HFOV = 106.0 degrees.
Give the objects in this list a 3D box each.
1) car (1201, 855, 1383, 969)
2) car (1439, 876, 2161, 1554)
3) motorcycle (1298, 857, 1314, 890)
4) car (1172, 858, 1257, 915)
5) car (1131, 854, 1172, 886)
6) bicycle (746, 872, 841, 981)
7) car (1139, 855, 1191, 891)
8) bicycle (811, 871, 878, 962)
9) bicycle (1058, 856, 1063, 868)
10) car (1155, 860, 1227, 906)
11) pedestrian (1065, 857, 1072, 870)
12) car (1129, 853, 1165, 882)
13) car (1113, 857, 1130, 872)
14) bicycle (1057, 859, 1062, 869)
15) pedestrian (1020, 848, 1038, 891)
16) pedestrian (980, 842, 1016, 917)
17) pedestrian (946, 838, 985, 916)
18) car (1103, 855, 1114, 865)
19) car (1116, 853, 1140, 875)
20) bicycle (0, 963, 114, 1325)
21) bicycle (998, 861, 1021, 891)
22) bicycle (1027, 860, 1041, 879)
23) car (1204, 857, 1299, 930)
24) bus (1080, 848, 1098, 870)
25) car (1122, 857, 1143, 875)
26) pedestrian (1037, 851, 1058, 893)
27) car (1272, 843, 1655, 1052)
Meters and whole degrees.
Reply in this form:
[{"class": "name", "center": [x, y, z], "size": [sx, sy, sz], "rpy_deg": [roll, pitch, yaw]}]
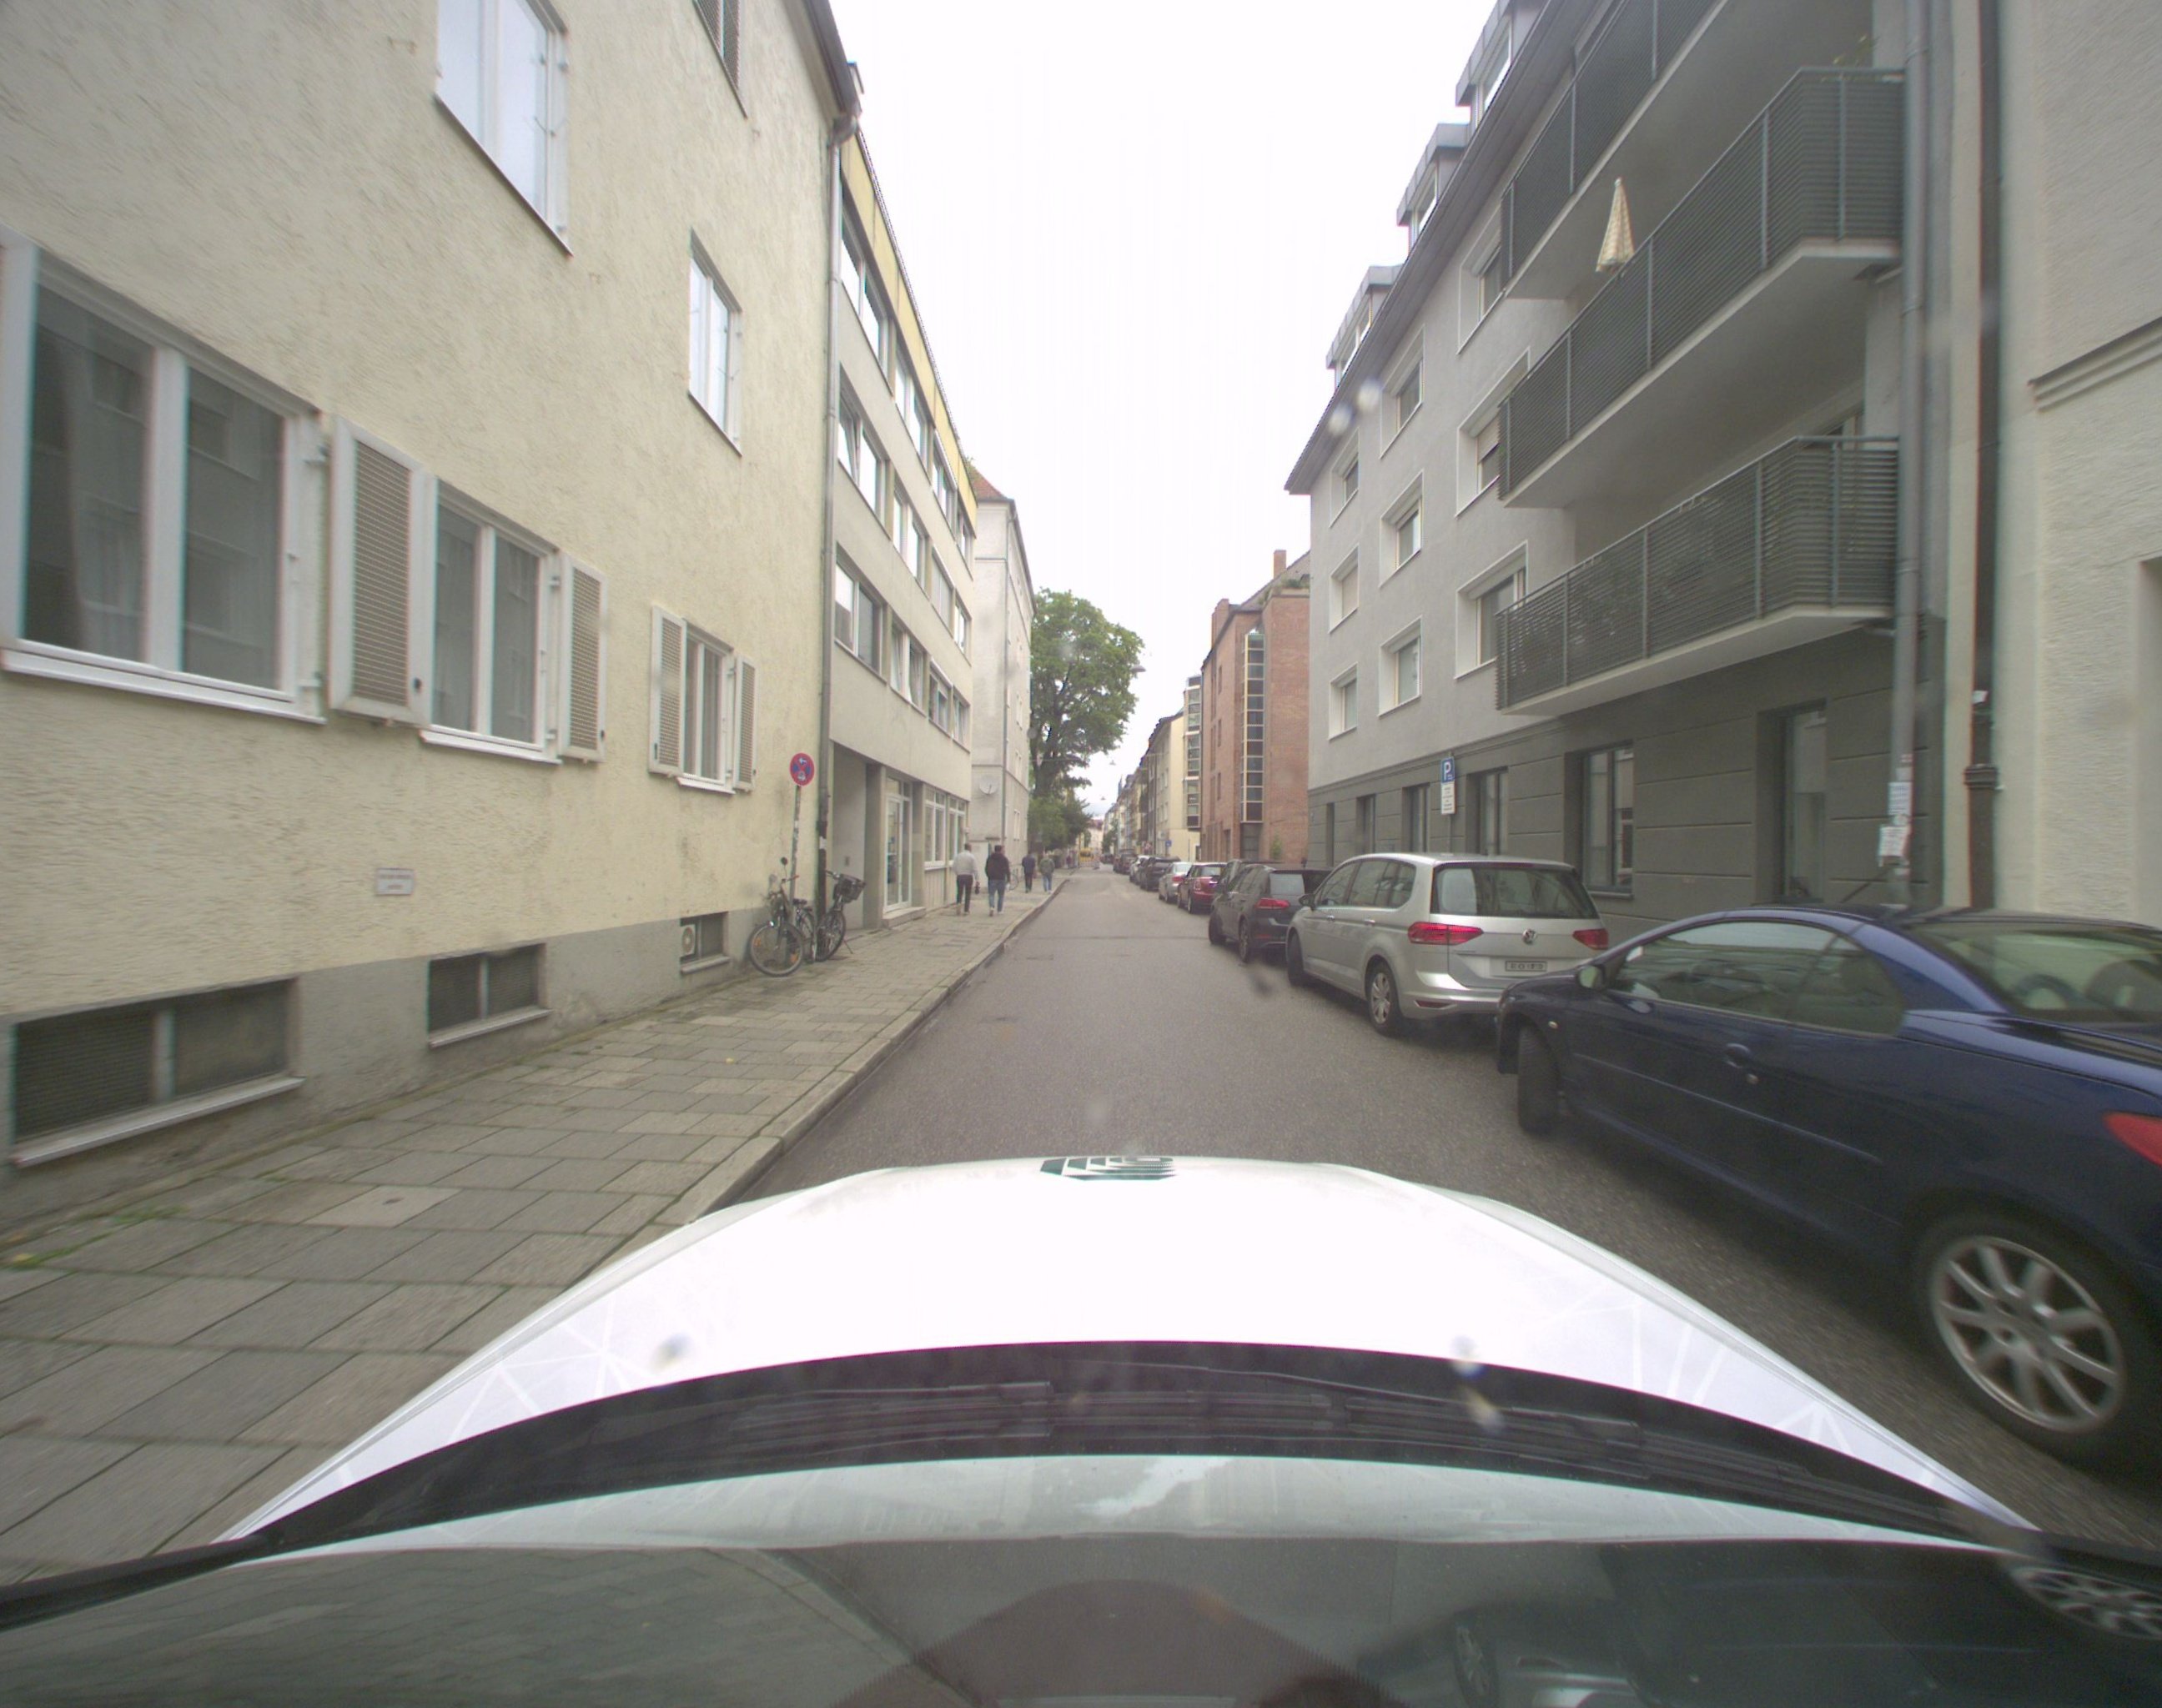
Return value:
[{"class": "car", "center": [3.209, 0.805, 13.317], "size": [1.834, 1.528, 4.291], "rpy_deg": [1, 0, 0]}, {"class": "car", "center": [3.271, 0.829, 3.511], "size": [1.801, 1.363, 3.946], "rpy_deg": [0, 0, 1]}, {"class": "motorcycle", "center": [9.497, 0.803, 34.420], "size": [0.536, 1.345, 1.947], "rpy_deg": [-1, -1, 12]}, {"class": "car", "center": [3.784, 0.880, 23.734], "size": [1.740, 1.462, 4.149], "rpy_deg": [1, 0, 0]}, {"class": "car", "center": [3.685, 0.828, 43.198], "size": [1.717, 1.635, 3.877], "rpy_deg": [0, -1, -3]}, {"class": "bicycle", "center": [-3.395, 0.816, 9.745], "size": [0.456, 1.159, 1.606], "rpy_deg": [3, -1, 2]}, {"class": "car", "center": [3.855, 0.853, 38.182], "size": [1.880, 1.555, 4.389], "rpy_deg": [1, 0, -1]}, {"class": "bicycle", "center": [-3.294, 0.836, 11.460], "size": [0.561, 1.159, 1.717], "rpy_deg": [1, -1, -5]}, {"class": "bicycle", "center": [-2.540, 1.007, 101.259], "size": [0.512, 1.418, 1.933], "rpy_deg": [0, -1, 0]}, {"class": "car", "center": [3.720, 0.940, 28.333], "size": [1.831, 1.417, 4.599], "rpy_deg": [1, 0, 0]}, {"class": "pedestrian", "center": [-1.408, 1.088, 91.263], "size": [0.753, 1.491, 0.831], "rpy_deg": [0, -1, 1]}, {"class": "car", "center": [3.885, 0.775, 48.559], "size": [1.744, 1.630, 4.194], "rpy_deg": [0, 0, -2]}, {"class": "car", "center": [4.293, 1.111, 86.549], "size": [1.630, 1.515, 3.829], "rpy_deg": [4, 0, 0]}, {"class": "bicycle", "center": [-2.356, 1.131, 88.452], "size": [0.445, 1.073, 2.467], "rpy_deg": [0, -1, -1]}, {"class": "pedestrian", "center": [-2.117, 0.650, 33.409], "size": [0.610, 1.713, 0.823], "rpy_deg": [2, -1, 0]}, {"class": "pedestrian", "center": [-2.018, 0.613, 19.935], "size": [0.716, 1.765, 0.838], "rpy_deg": [2, -1, 1]}, {"class": "pedestrian", "center": [-2.783, 0.548, 19.693], "size": [0.716, 1.796, 0.917], "rpy_deg": [2, -1, 1]}, {"class": "car", "center": [5.093, 1.038, 152.452], "size": [1.796, 1.712, 3.825], "rpy_deg": [4, 0, -1]}, {"class": "car", "center": [4.295, 0.913, 74.667], "size": [1.796, 1.820, 3.998], "rpy_deg": [4, 0, -1]}, {"class": "bicycle", "center": [-3.356, 0.821, 1.602], "size": [0.702, 0.984, 1.820], "rpy_deg": [5, -1, -3]}, {"class": "bicycle", "center": [-3.030, 0.910, 34.425], "size": [0.643, 1.217, 1.654], "rpy_deg": [0, -1, -18]}, {"class": "bicycle", "center": [-2.826, 0.917, 49.036], "size": [0.474, 1.111, 1.750], "rpy_deg": [1, 0, -17]}, {"class": "car", "center": [3.860, 0.851, 18.866], "size": [1.516, 1.511, 3.201], "rpy_deg": [1, 0, 0]}, {"class": "bus", "center": [1.158, 0.789, 120.429], "size": [2.584, 3.102, 6.306], "rpy_deg": [0, -1, 1]}, {"class": "car", "center": [4.401, 0.993, 70.306], "size": [1.619, 1.487, 3.809], "rpy_deg": [1, 0, 1]}, {"class": "pedestrian", "center": [-1.359, 0.749, 33.489], "size": [0.750, 1.659, 0.906], "rpy_deg": [2, -1, 1]}, {"class": "car", "center": [3.464, 0.725, 8.432], "size": [1.870, 1.570, 4.314], "rpy_deg": [-1, 0, -1]}]
